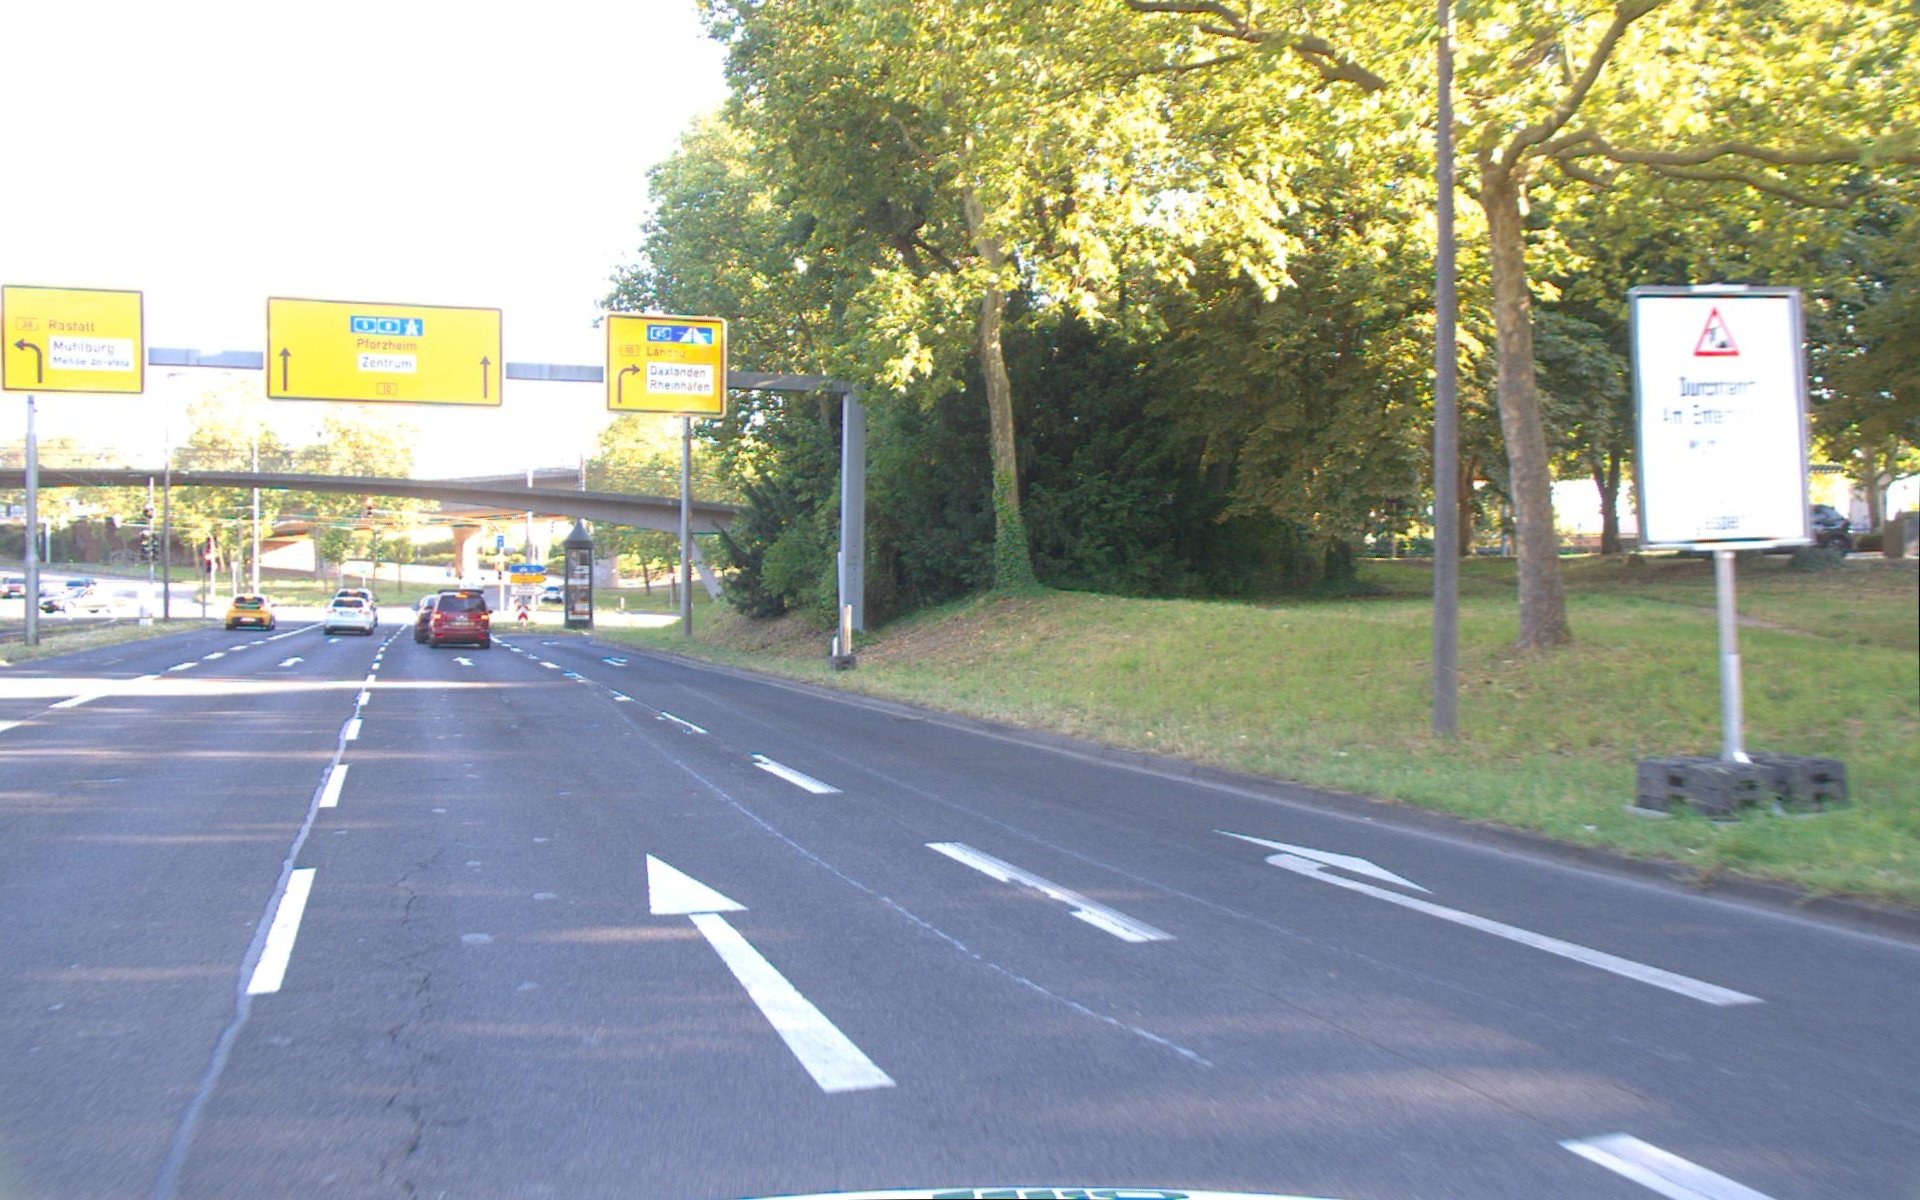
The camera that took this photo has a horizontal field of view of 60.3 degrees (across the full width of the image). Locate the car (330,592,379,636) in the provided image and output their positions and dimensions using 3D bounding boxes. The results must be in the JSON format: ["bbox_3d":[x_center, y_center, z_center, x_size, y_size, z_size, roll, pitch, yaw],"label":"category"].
[{"bbox_3d":[-24.078,0.532,65.890,1.637,1.592,4.169,-2,1,-18],"label":"car"}]

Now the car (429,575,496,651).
[{"bbox_3d":[-15.071,0.351,50.002,1.765,2.142,3.979,-2,1,-19],"label":"car"}]

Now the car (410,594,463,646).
[{"bbox_3d":[-19.404,0.723,61.254,1.765,1.780,3.979,-2,1,-18],"label":"car"}]

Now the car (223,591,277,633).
[{"bbox_3d":[-28.899,0.454,67.418,1.637,1.592,3.979,-2,1,-18],"label":"car"}]

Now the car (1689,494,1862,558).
[{"bbox_3d":[21.838,-1.979,44.325,3.918,1.579,1.802,-1,1,-13],"label":"car"}]

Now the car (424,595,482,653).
[{"bbox_3d":[-17.175,0.773,55.897,1.765,1.780,4.219,-2,1,-18],"label":"car"}]

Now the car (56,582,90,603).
[{"bbox_3d":[-71.190,-0.610,132.794,1.850,1.603,3.654,1,0,-20],"label":"car"}]

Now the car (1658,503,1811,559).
[{"bbox_3d":[23.998,-2.126,51.335,3.908,1.579,1.806,-1,1,-4],"label":"car"}]
